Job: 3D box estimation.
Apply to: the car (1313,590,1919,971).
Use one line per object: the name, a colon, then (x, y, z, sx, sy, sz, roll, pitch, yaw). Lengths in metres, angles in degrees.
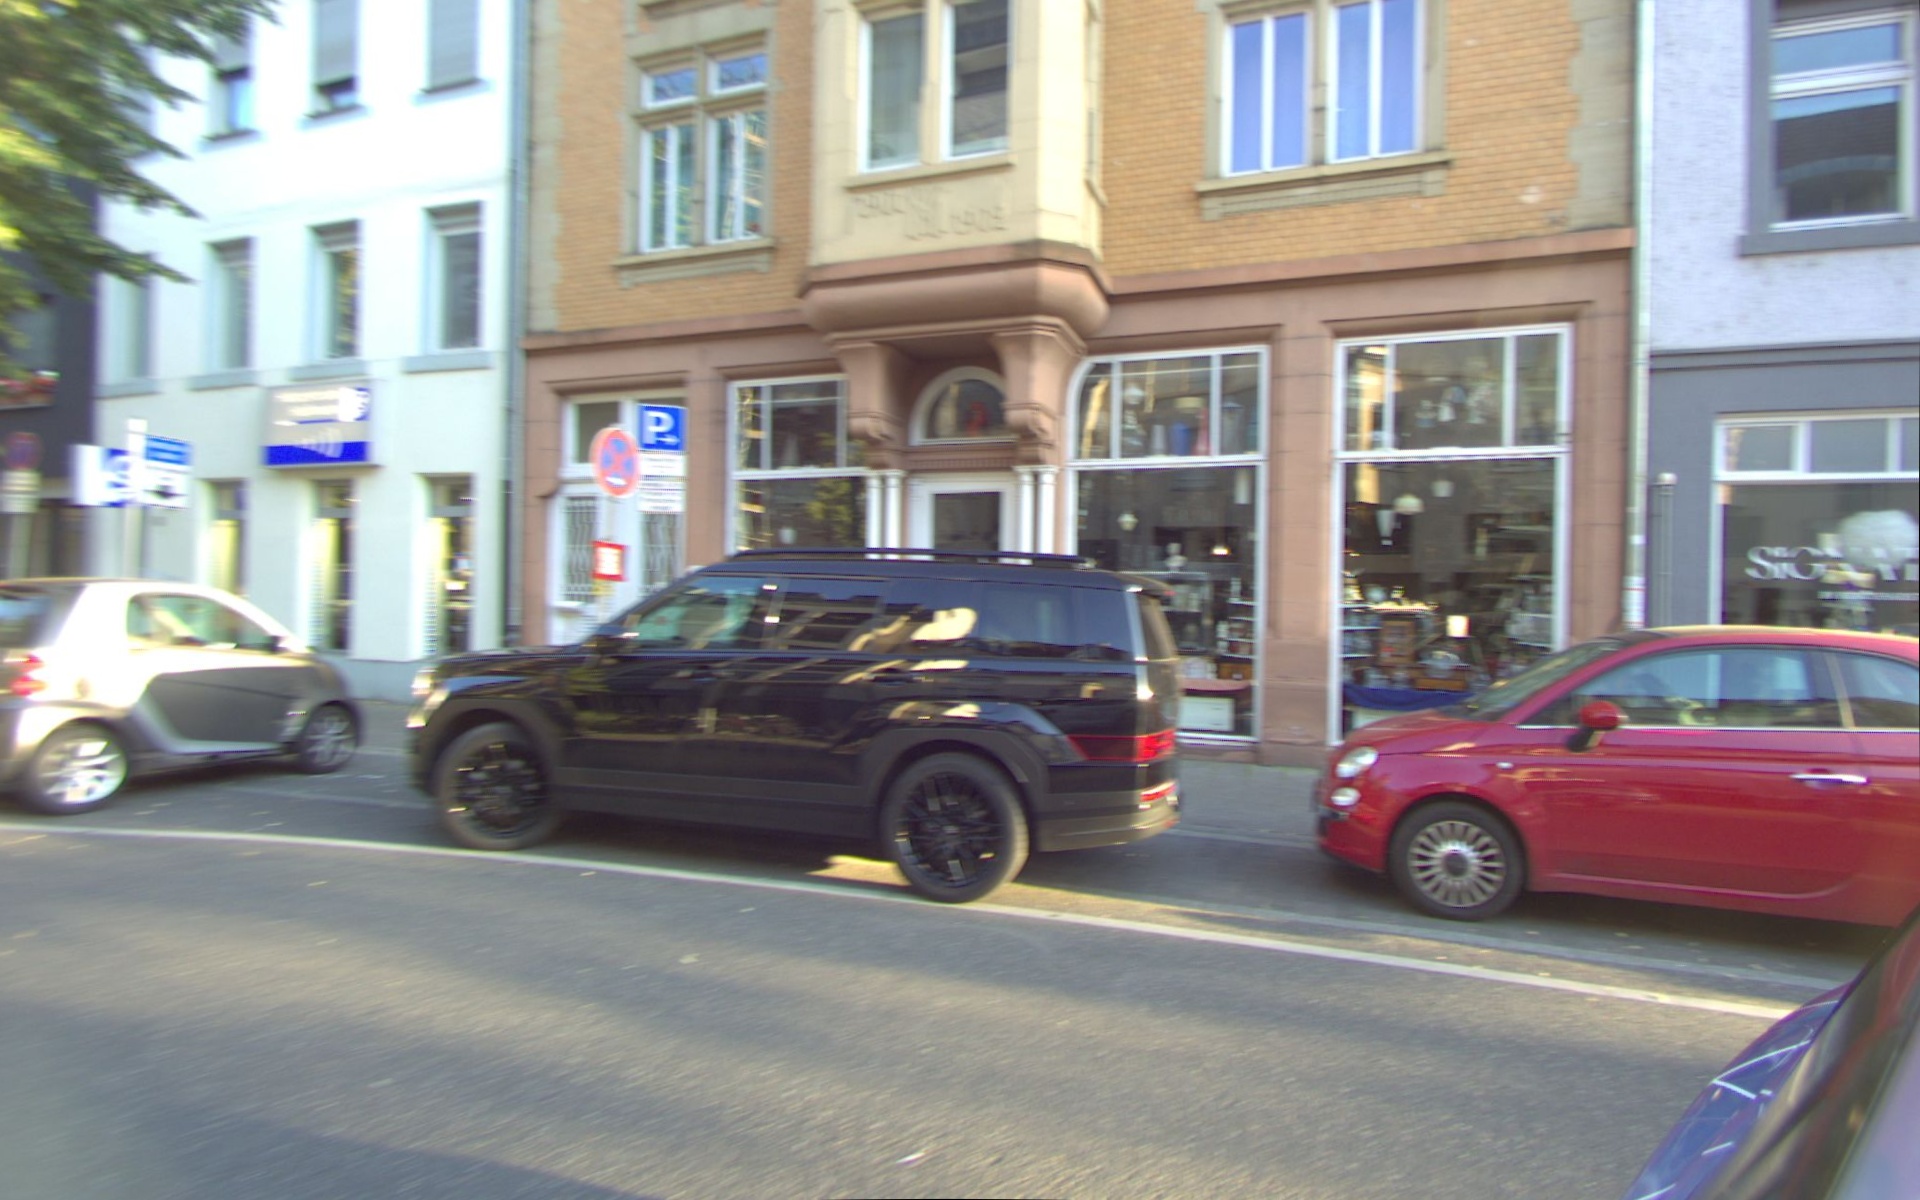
car: (3.671, 0.784, 5.300, 3.381, 1.590, 1.519, 1, -1, 22)

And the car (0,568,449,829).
car: (-6.029, 0.596, 8.073, 1.487, 1.595, 3.461, 1, 0, 17)

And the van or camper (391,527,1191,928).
van or camper: (-0.887, 0.557, 6.131, 4.396, 1.831, 1.886, 1, -1, 15)

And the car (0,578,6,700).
car: (-13.035, 0.512, 10.623, 1.834, 1.691, 3.984, 1, -1, 18)
